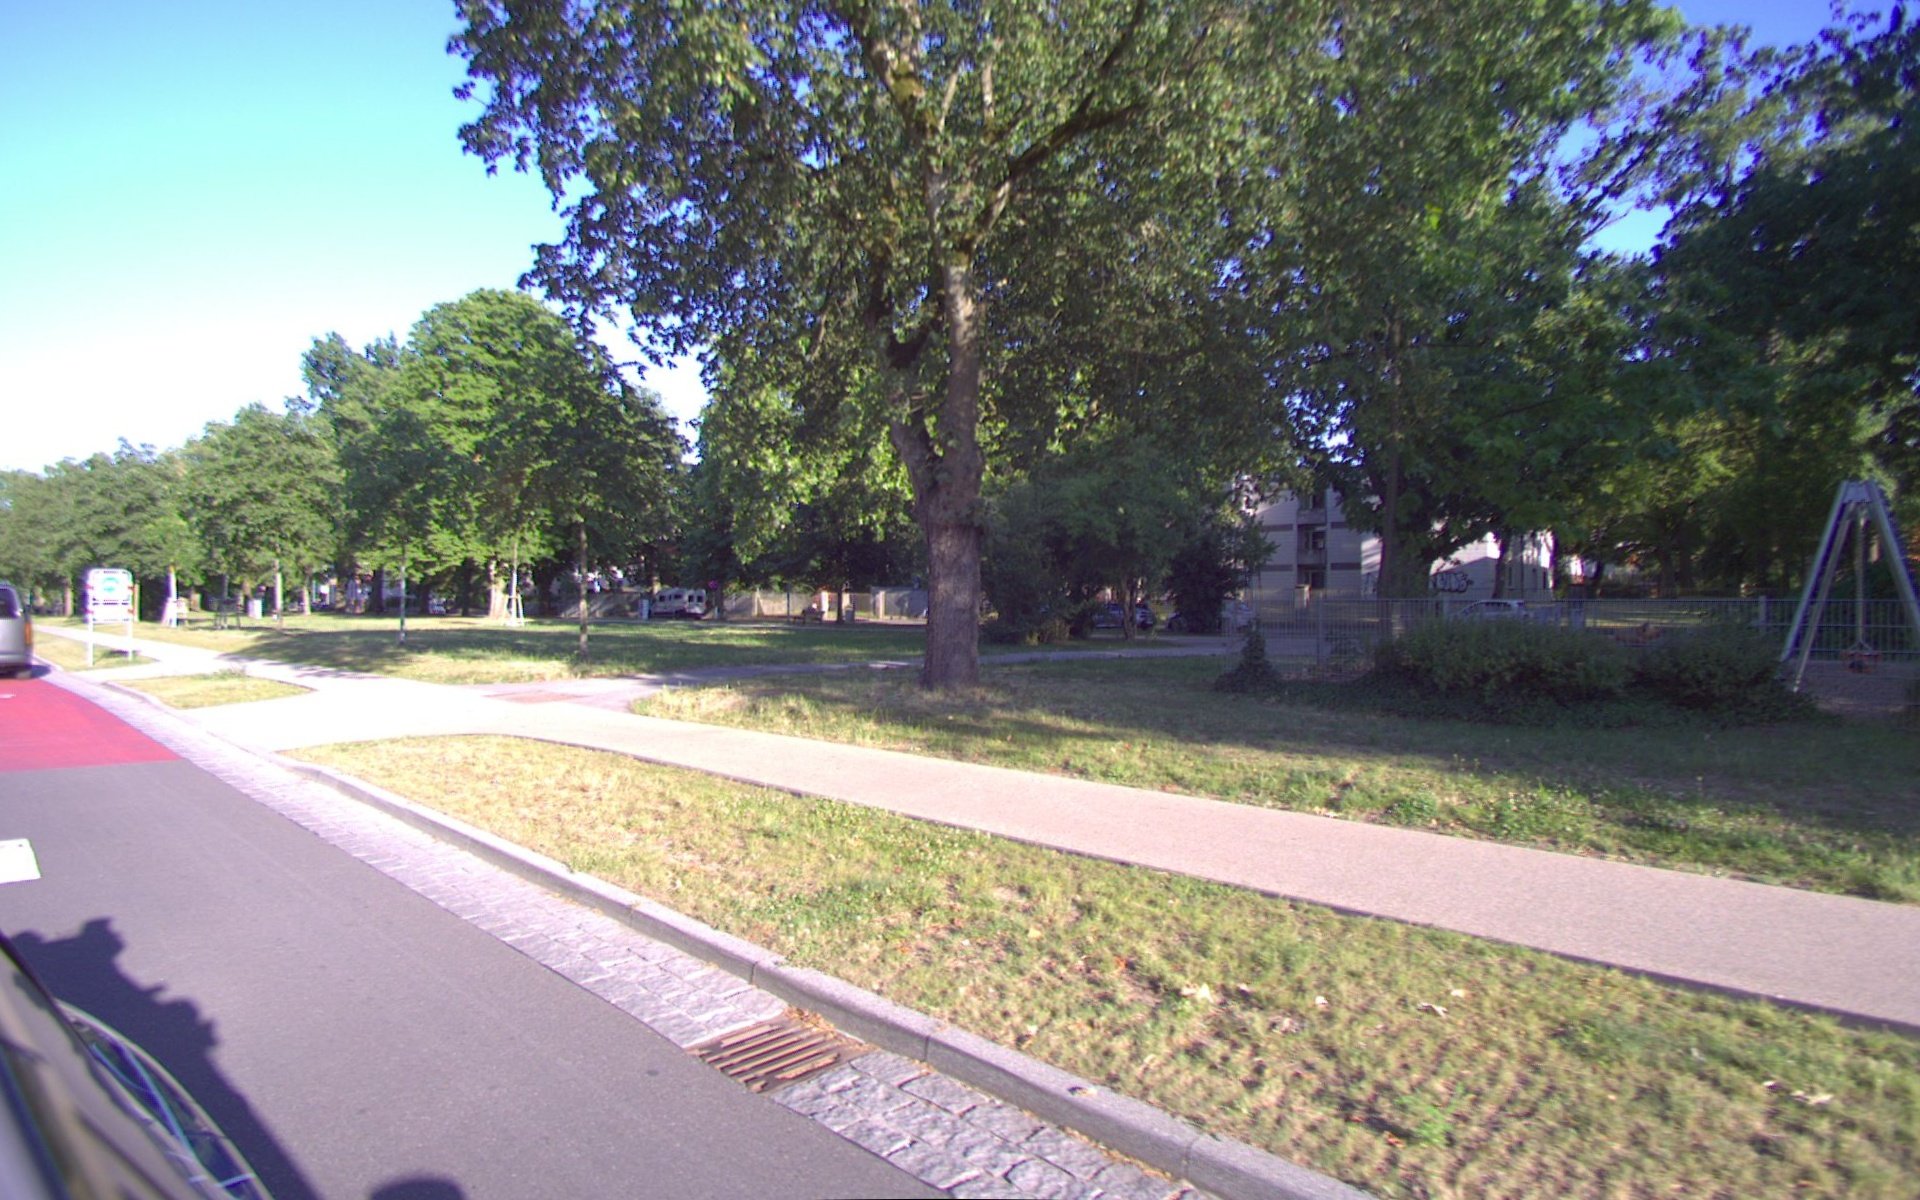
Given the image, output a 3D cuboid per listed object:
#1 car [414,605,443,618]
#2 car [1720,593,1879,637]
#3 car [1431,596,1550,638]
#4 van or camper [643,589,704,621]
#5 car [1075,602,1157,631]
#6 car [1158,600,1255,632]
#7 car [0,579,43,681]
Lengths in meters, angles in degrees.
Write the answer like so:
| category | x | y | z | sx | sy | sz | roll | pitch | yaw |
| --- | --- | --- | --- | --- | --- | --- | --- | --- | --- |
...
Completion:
| category | x | y | z | sx | sy | sz | roll | pitch | yaw |
| --- | --- | --- | --- | --- | --- | --- | --- | --- | --- |
| car | -60.852 | 1.295 | 115.861 | 4.000 | 1.475 | 1.772 | 0 | 0 | 43 |
| car | 26.579 | 0.453 | 32.124 | 3.754 | 1.302 | 1.505 | -1 | 0 | 45 |
| car | 19.943 | 0.626 | 38.122 | 1.582 | 1.475 | 3.666 | -1 | 0 | -44 |
| van or camper | -22.360 | 0.406 | 78.956 | 5.466 | 2.458 | 1.972 | -1 | 0 | 42 |
| car | 7.683 | 0.802 | 49.975 | 3.793 | 1.378 | 1.505 | -1 | 0 | 43 |
| car | 11.232 | 0.702 | 46.331 | 4.108 | 1.378 | 1.505 | -1 | 0 | 43 |
| car | -19.478 | 0.520 | 19.740 | 4.571 | 1.861 | 1.824 | 0 | -1 | 42 |
